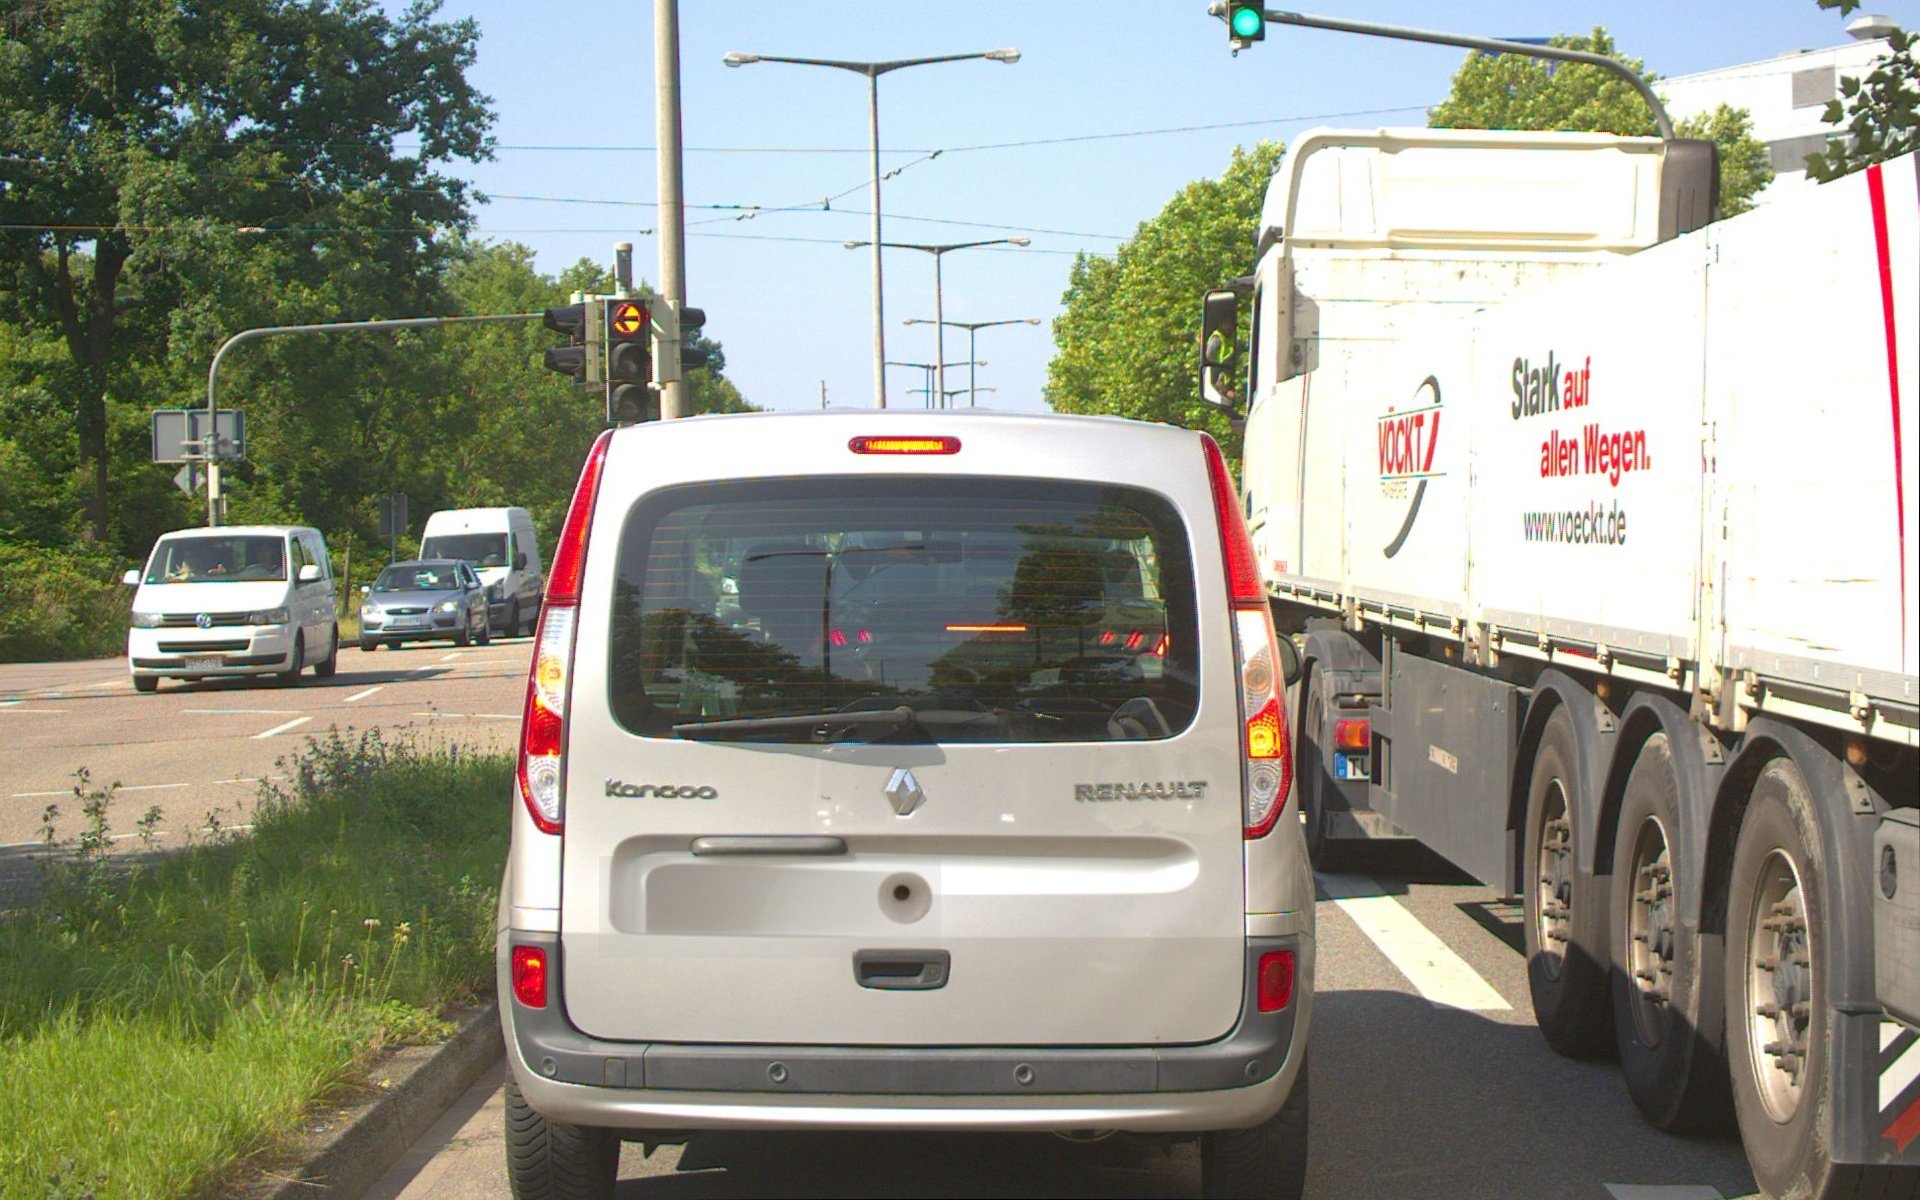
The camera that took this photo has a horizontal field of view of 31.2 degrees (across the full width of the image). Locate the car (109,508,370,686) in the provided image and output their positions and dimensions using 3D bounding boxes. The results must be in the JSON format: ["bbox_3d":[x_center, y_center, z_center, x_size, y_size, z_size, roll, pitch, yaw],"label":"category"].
[{"bbox_3d":[-8.447,-0.063,40.762,1.993,1.884,4.988,-3,1,-1],"label":"car"}]

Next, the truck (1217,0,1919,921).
[{"bbox_3d":[3.139,-0.665,17.159,3.071,3.745,7.476,0,1,-1],"label":"truck"}]

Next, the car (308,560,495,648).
[{"bbox_3d":[-9.391,0.041,57.531,1.911,1.404,4.228,0,1,-27],"label":"car"}]

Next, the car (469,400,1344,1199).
[{"bbox_3d":[-0.113,0.459,8.857,1.749,1.766,3.949,0,1,0],"label":"car"}]

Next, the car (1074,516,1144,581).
[{"bbox_3d":[4.632,-1.601,107.371,1.993,2.007,4.000,0,1,-1],"label":"car"}]

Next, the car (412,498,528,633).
[{"bbox_3d":[-9.799,-0.703,69.118,2.058,2.605,5.871,0,1,-6],"label":"car"}]

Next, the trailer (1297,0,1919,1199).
[{"bbox_3d":[3.066,-0.834,10.233,3.016,3.728,12.240,0,1,0],"label":"trailer"}]
